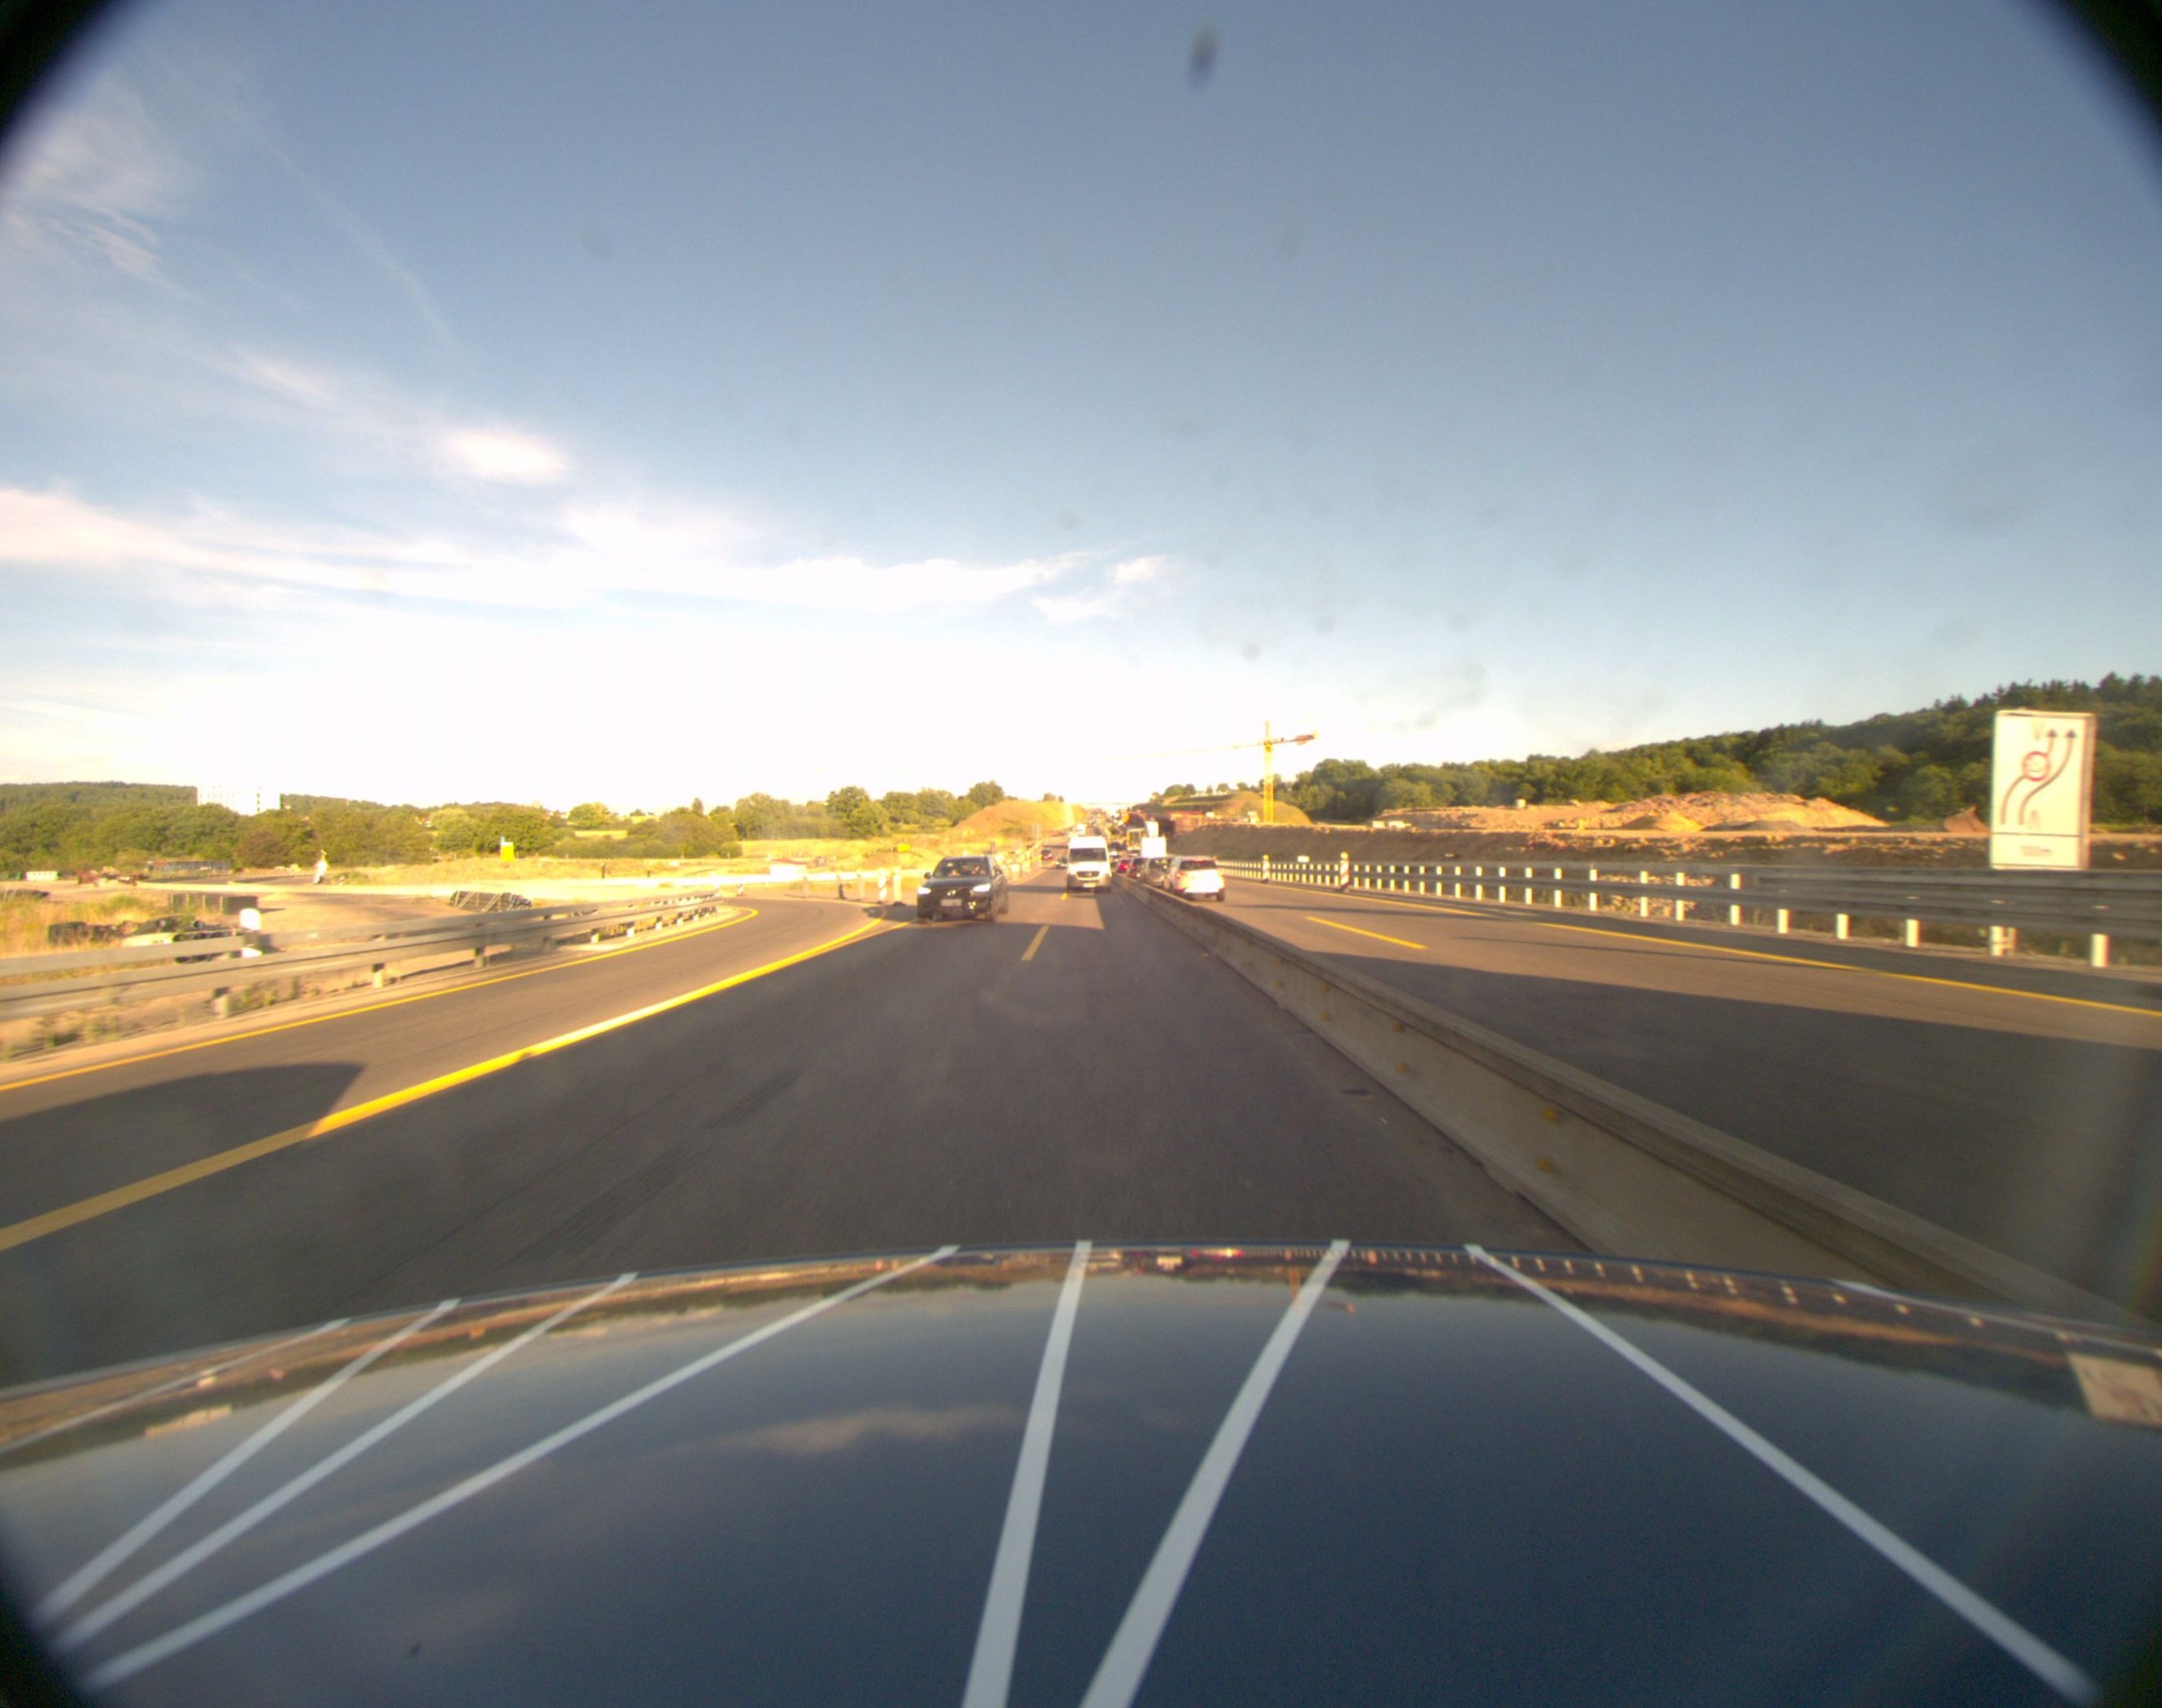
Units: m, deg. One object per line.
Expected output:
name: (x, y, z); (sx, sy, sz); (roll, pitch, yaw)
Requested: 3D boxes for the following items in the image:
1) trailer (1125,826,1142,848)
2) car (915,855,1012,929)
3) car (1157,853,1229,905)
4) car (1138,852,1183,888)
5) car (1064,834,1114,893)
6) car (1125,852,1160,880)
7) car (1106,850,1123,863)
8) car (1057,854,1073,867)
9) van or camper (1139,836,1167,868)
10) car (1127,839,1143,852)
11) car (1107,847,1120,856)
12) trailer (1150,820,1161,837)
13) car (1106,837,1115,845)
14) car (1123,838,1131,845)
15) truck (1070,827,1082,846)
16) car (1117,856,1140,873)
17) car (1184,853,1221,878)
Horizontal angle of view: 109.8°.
trailer: (10.361, -3.377, 151.655); (2.780, 4.008, 13.681); (-1, 1, 2)
car: (-3.073, 0.925, 20.905); (1.902, 1.703, 4.887); (-2, 0, -1)
car: (3.746, 0.788, 26.018); (1.771, 1.526, 3.999); (-2, 1, -1)
car: (3.808, 0.713, 37.122); (1.747, 1.574, 4.705); (-1, 1, 1)
car: (0.430, 0.412, 35.934); (2.109, 2.518, 5.220); (-2, 0, 1)
car: (3.908, 0.751, 49.036); (1.832, 1.630, 4.529); (-2, 0, -1)
car: (4.264, 0.252, 97.651); (1.820, 1.454, 4.705); (-4, 1, 0)
car: (-1.866, 0.736, 91.151); (1.791, 1.477, 4.000); (-2, 0, 0)
van or camper: (8.059, -0.222, 85.899); (2.464, 3.478, 7.413); (-2, 0, 0)
car: (7.833, -1.192, 110.485); (1.998, 1.754, 4.440); (-2, 1, 1)
car: (5.350, -0.447, 125.866); (1.866, 1.424, 4.154); (-2, 1, 0)
trailer: (19.654, -6.783, 200.819); (2.536, 4.191, 13.931); (-2, 3, 5)
car: (6.632, -2.984, 170.715); (1.916, 1.600, 4.494); (-1, 2, 3)
car: (10.371, -2.734, 170.800); (1.719, 1.402, 4.327); (-1, 2, 6)
truck: (-1.015, -3.744, 164.661); (2.263, 3.706, 6.571); (-4, 1, 0)
car: (4.431, 0.967, 71.282); (1.820, 1.454, 4.705); (-2, 0, 0)
car: (8.033, 0.719, 50.449); (1.695, 1.559, 4.292); (-2, 0, 0)
